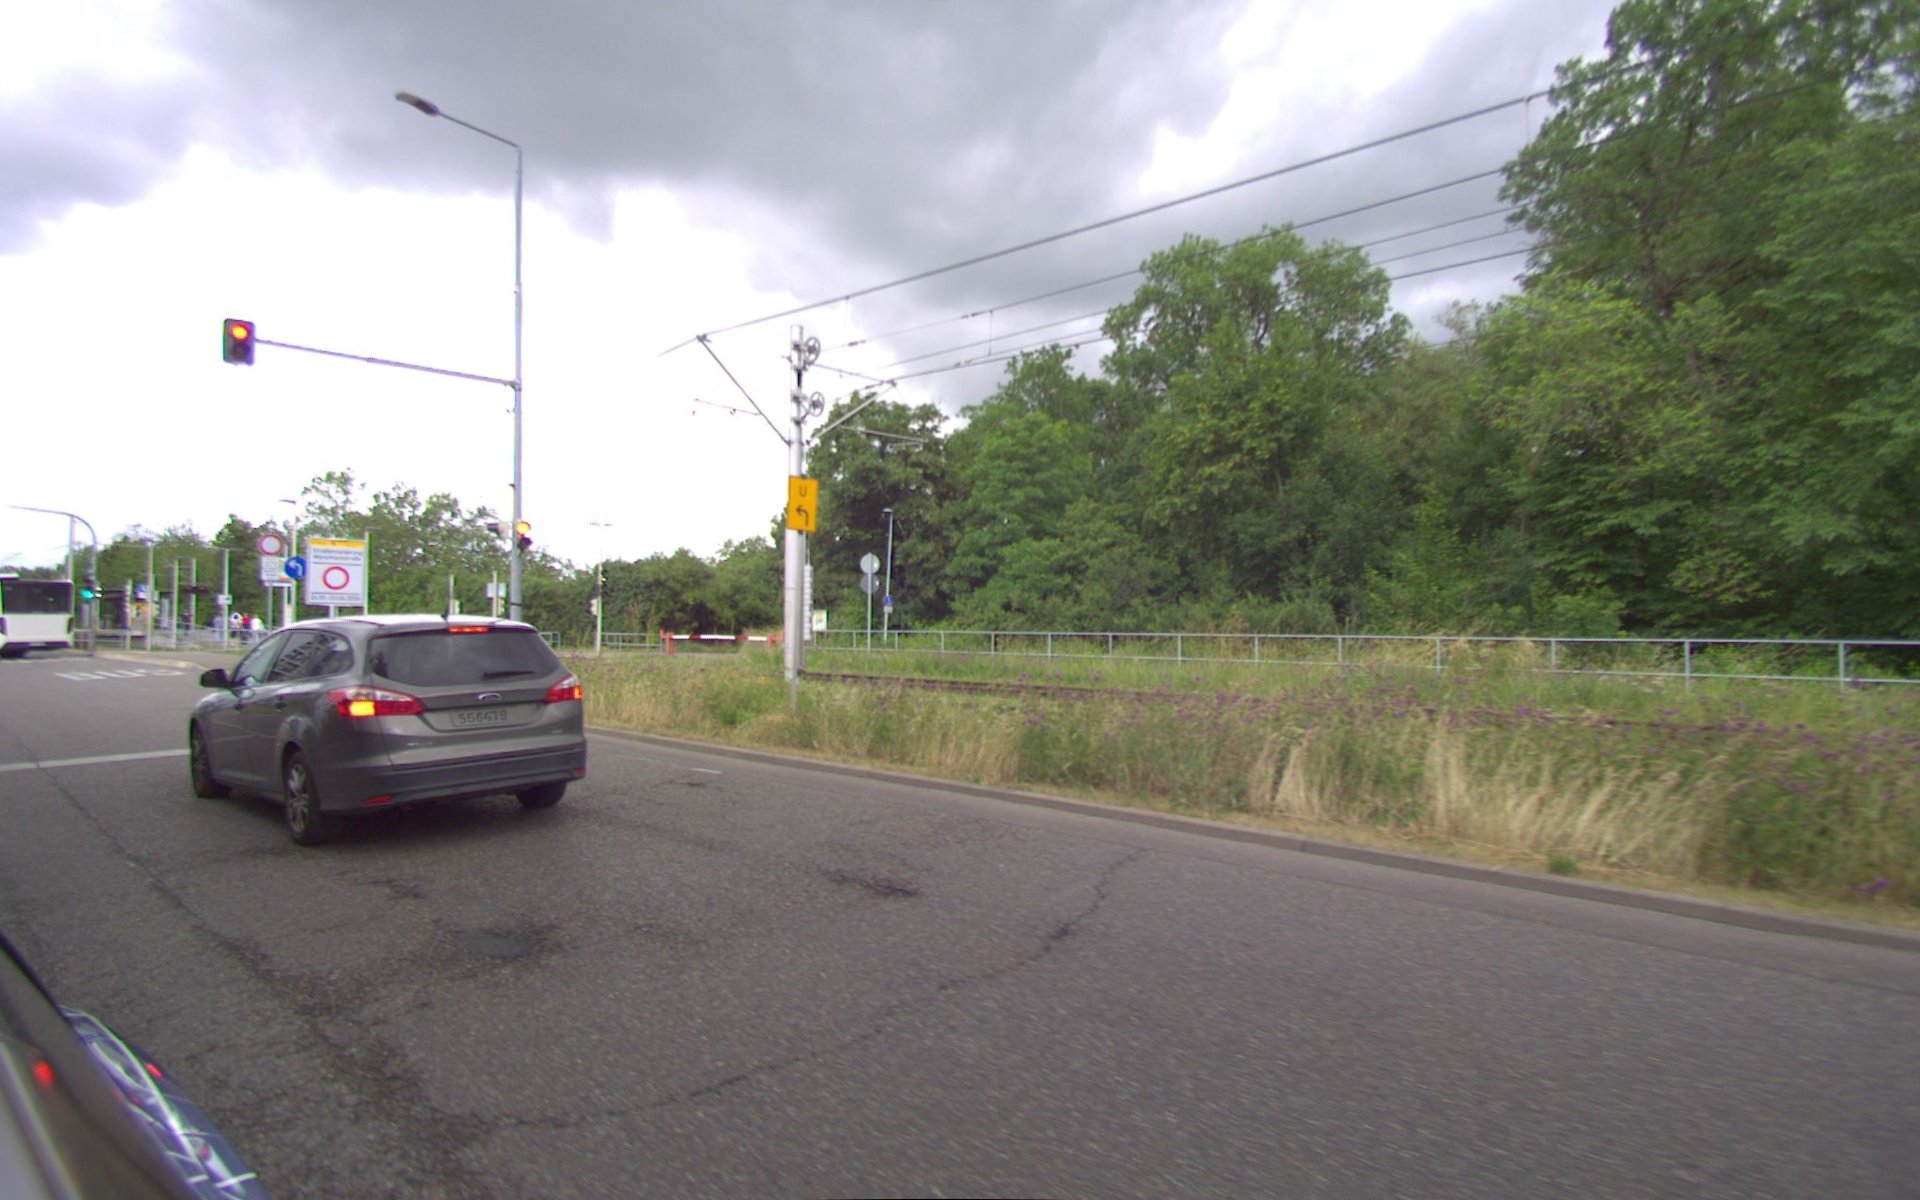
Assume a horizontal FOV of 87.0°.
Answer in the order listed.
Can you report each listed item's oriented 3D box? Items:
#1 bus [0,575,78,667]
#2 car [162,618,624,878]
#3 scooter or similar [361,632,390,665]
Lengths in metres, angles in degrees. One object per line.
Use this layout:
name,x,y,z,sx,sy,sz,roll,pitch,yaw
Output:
bus,-38.989,0.786,38.744,12.115,3.227,2.655,0,-1,22
car,-4.592,0.887,7.868,4.426,1.445,1.737,-1,-1,41
scooter or similar,-23.006,1.919,39.849,1.264,1.281,0.407,-1,-2,31
